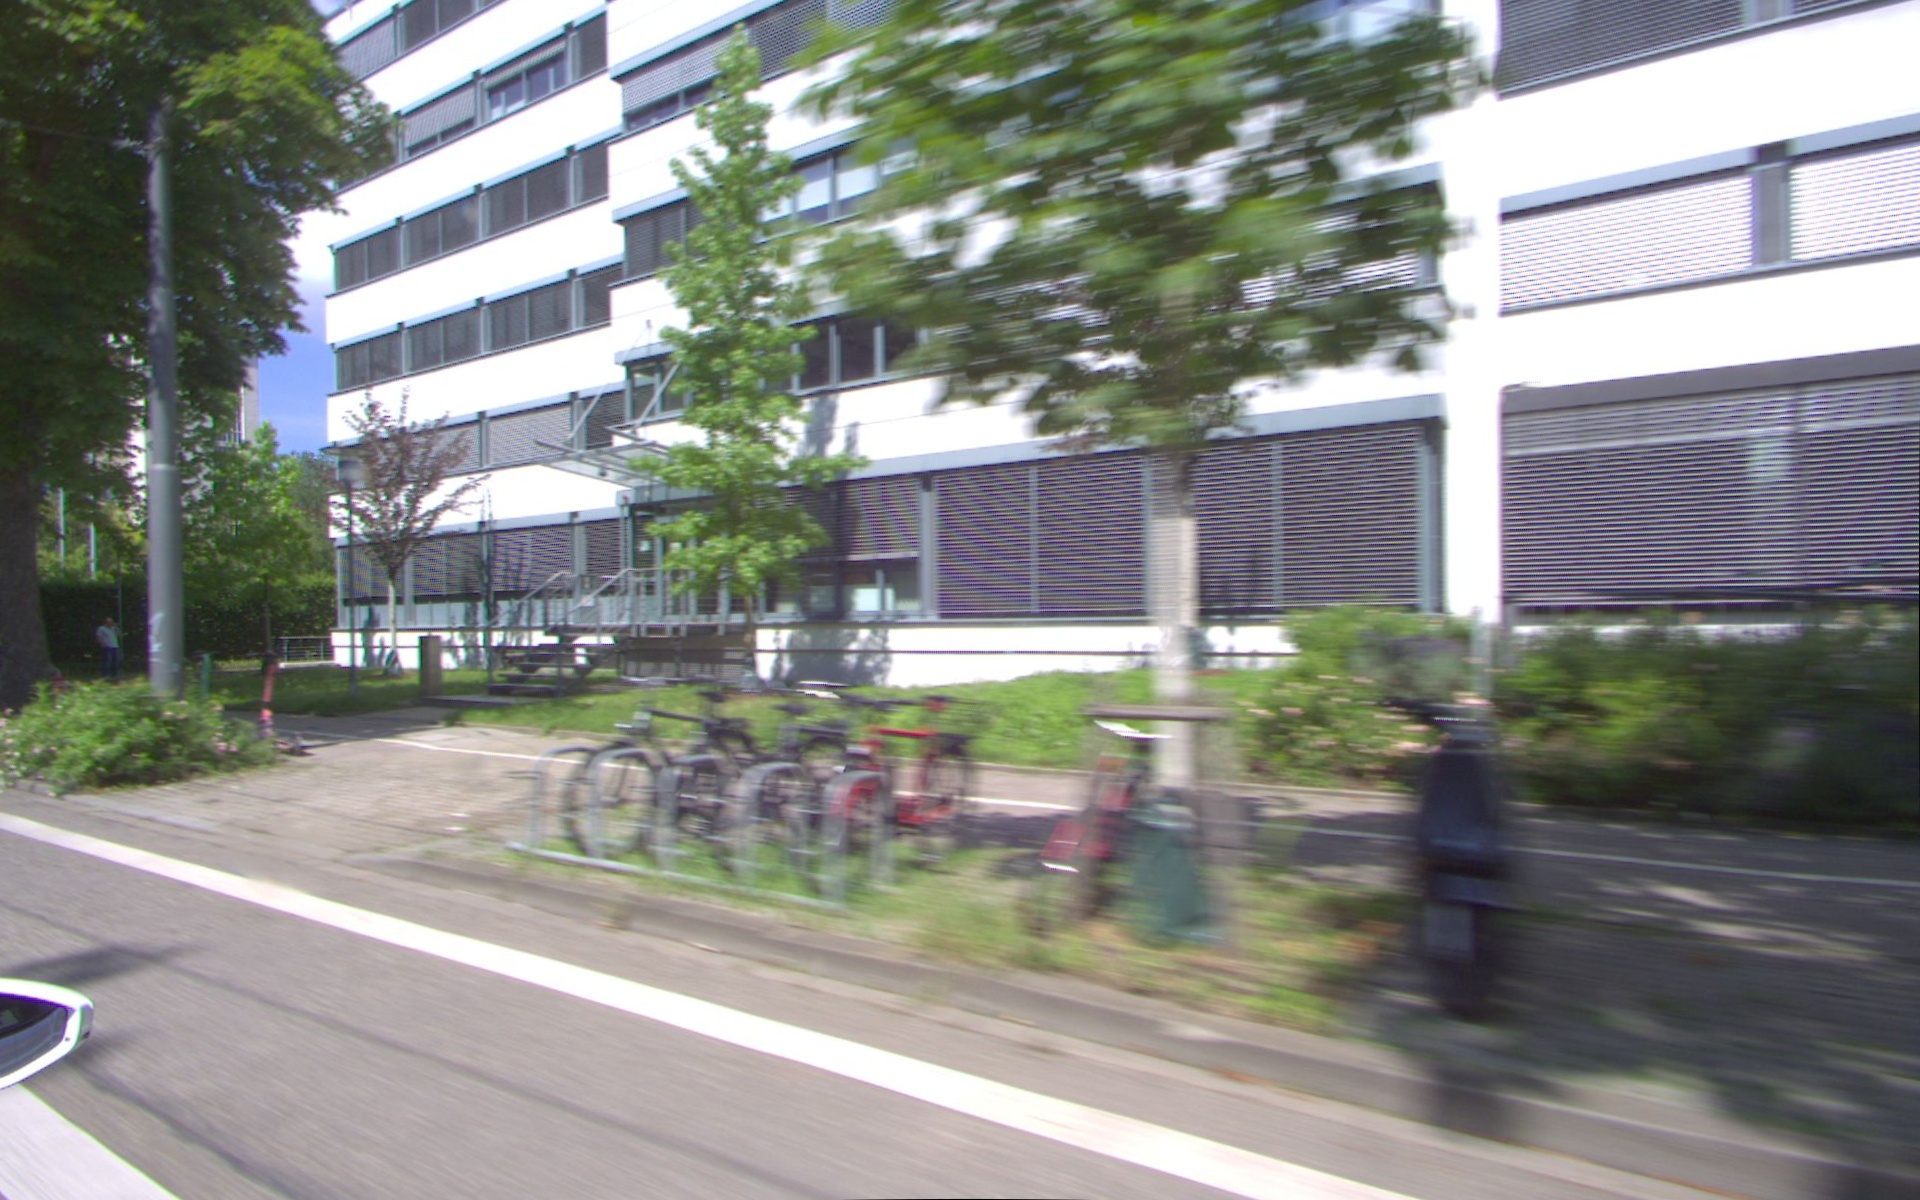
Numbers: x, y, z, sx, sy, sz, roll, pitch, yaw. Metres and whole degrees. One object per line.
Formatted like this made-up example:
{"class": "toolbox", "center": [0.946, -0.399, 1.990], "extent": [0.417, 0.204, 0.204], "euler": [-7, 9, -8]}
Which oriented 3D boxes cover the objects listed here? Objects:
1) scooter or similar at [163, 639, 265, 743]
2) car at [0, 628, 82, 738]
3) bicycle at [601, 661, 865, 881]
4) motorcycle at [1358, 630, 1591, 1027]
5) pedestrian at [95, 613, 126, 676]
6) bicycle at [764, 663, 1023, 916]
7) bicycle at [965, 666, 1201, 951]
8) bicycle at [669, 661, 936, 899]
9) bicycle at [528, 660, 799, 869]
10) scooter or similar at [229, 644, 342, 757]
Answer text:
{"class": "scooter or similar", "center": [-9.449, 1.120, 12.671], "extent": [1.365, 1.224, 0.538], "euler": [-1, 1, 32]}
{"class": "car", "center": [-15.159, 1.199, 15.042], "extent": [4.567, 1.486, 1.673], "euler": [-1, 0, 32]}
{"class": "bicycle", "center": [-1.328, 0.964, 6.249], "extent": [0.561, 1.125, 1.807], "euler": [-1, -2, 28]}
{"class": "motorcycle", "center": [2.151, 0.792, 4.315], "extent": [0.709, 1.293, 1.814], "euler": [-1, -1, 24]}
{"class": "pedestrian", "center": [-24.812, 1.288, 29.262], "extent": [0.621, 1.772, 0.651], "euler": [-2, 1, -39]}
{"class": "bicycle", "center": [-0.282, 0.935, 5.566], "extent": [0.561, 1.125, 1.807], "euler": [-1, -2, 28]}
{"class": "bicycle", "center": [0.698, 0.917, 5.056], "extent": [0.561, 1.125, 1.807], "euler": [-1, -2, 28]}
{"class": "bicycle", "center": [-0.832, 0.940, 5.853], "extent": [0.561, 1.125, 1.807], "euler": [-1, -2, 28]}
{"class": "bicycle", "center": [-1.843, 0.974, 6.532], "extent": [0.561, 1.125, 1.840], "euler": [-1, -2, 28]}
{"class": "scooter or similar", "center": [-7.881, 1.137, 11.690], "extent": [1.365, 1.224, 0.538], "euler": [-1, 1, 32]}
